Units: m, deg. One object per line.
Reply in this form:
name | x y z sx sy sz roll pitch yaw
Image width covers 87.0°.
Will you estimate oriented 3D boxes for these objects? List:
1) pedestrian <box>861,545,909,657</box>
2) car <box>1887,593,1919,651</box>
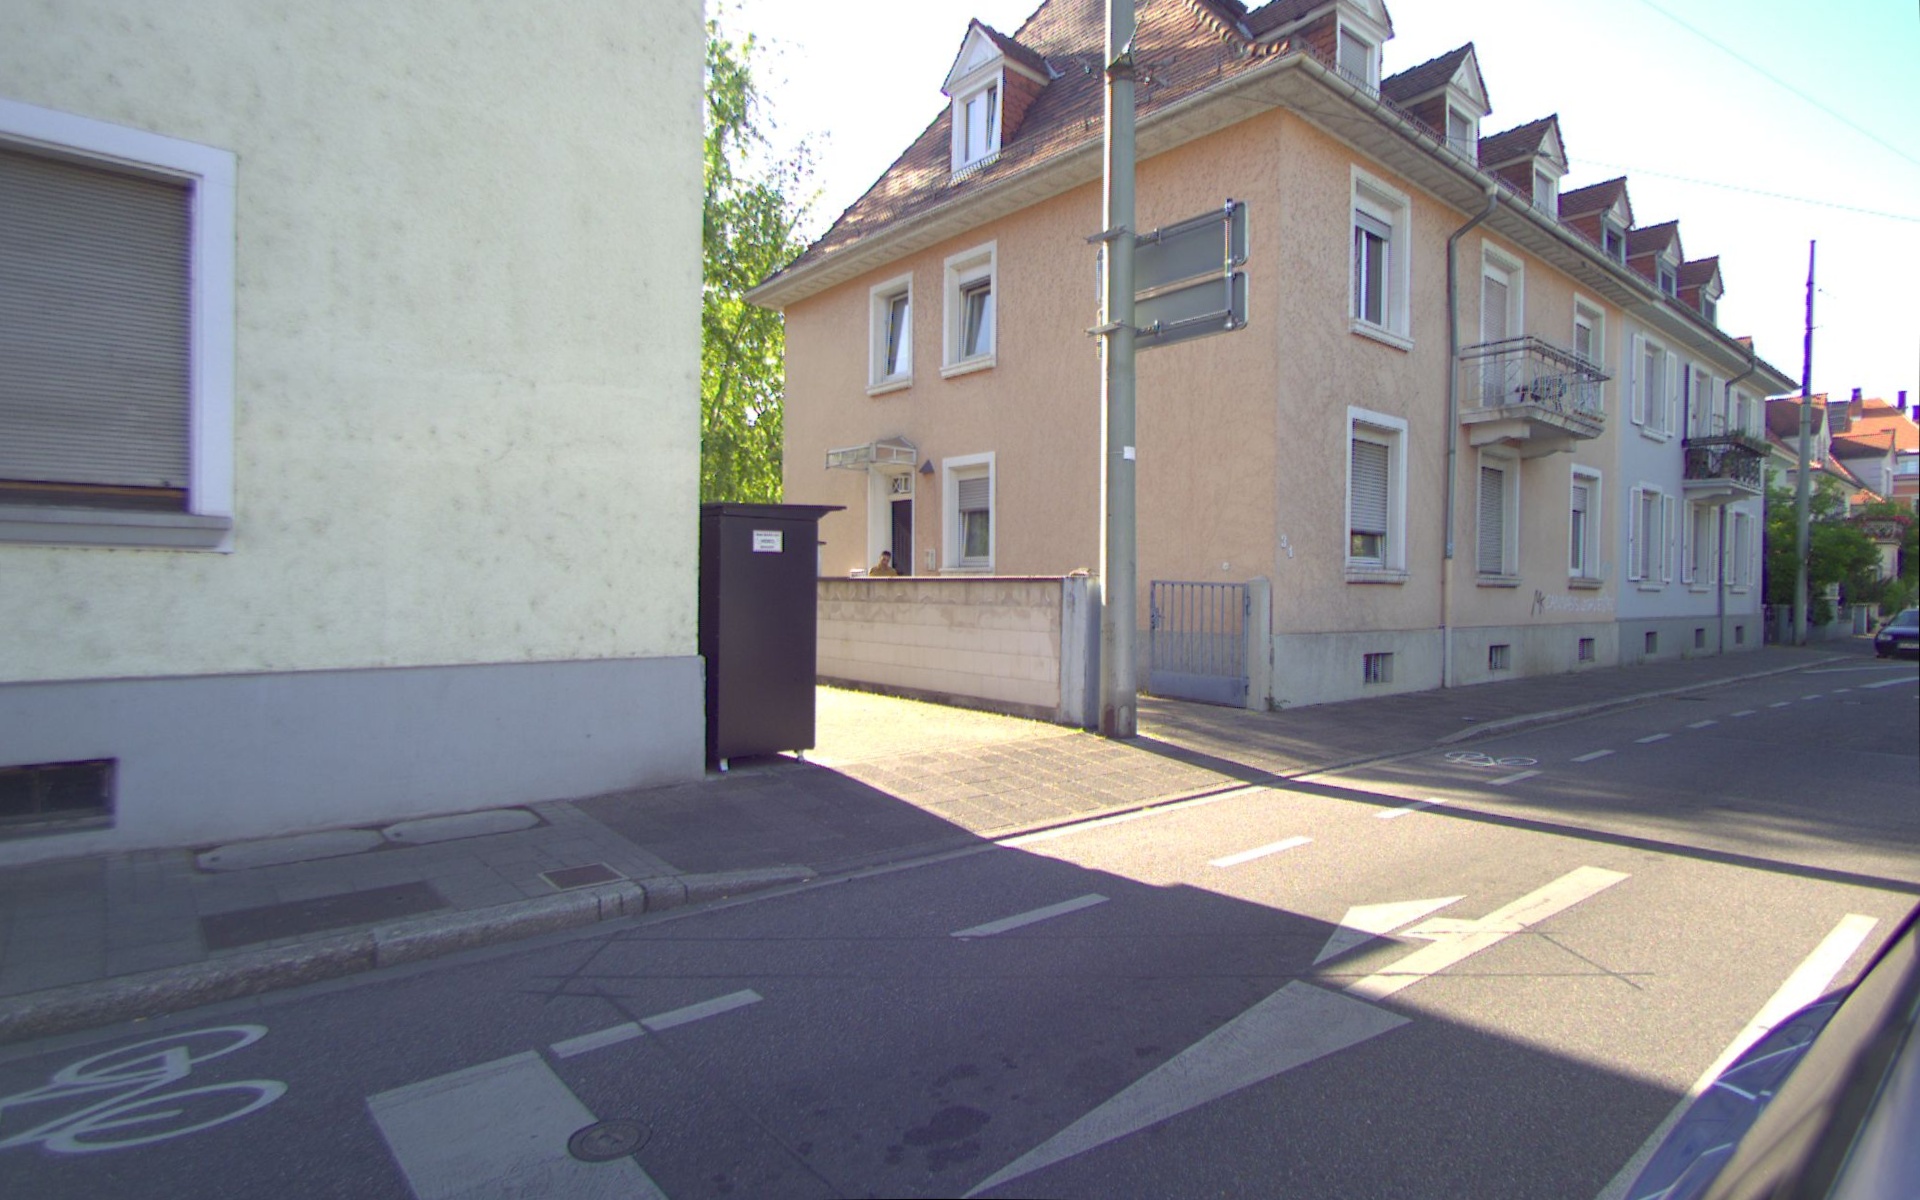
pedestrian | -1.226 0.014 16.589 0.592 1.783 0.486 0 0 -39
car | 26.835 0.589 27.374 3.925 1.504 1.883 0 1 -37
